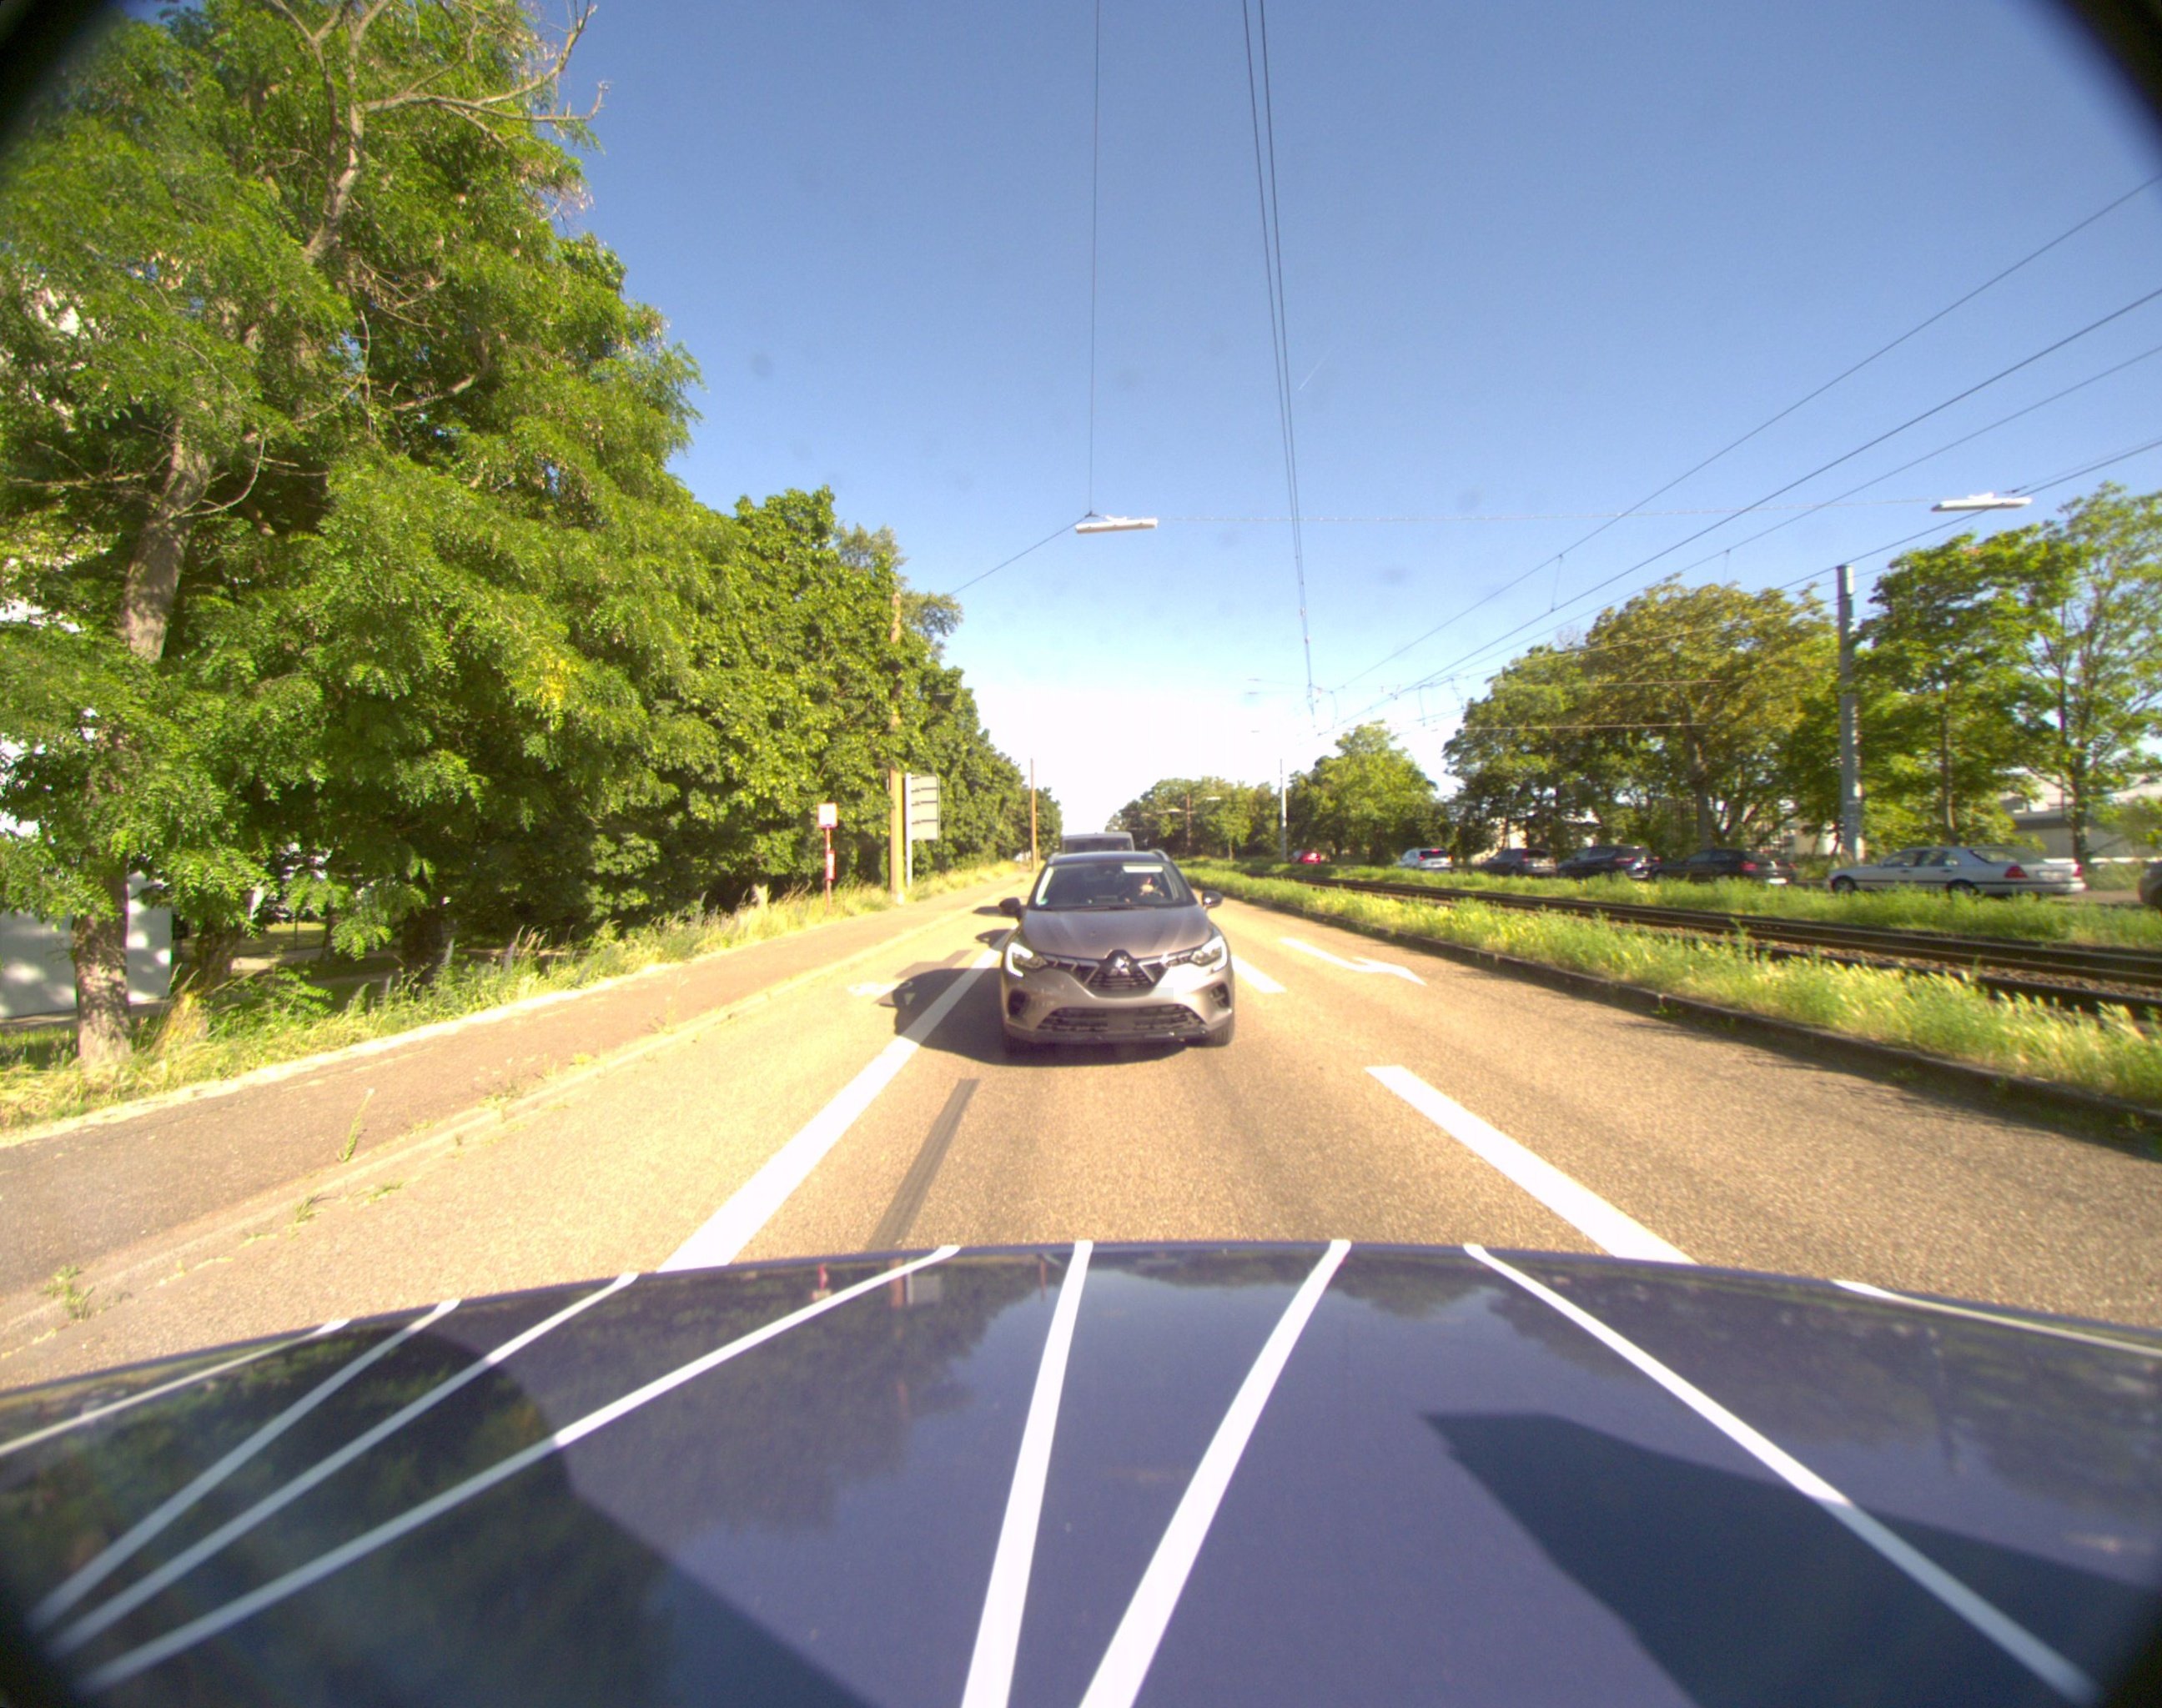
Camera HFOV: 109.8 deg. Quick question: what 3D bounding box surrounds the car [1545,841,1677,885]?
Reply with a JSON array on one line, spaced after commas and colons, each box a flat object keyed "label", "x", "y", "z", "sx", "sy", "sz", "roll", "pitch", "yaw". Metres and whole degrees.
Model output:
[{"label": "car", "x": 21.308, "y": 0.343, "z": 30.815, "sx": 2.130, "sy": 1.578, "sz": 4.616, "roll": -2, "pitch": 0, "yaw": 1}]

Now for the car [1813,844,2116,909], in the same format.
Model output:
[{"label": "car", "x": 21.546, "y": 0.506, "z": 18.924, "sx": 2.130, "sy": 1.372, "sz": 4.616, "roll": -2, "pitch": 0, "yaw": -1}]

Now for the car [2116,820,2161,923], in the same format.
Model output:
[{"label": "car", "x": 21.237, "y": 0.293, "z": 12.456, "sx": 2.207, "sy": 1.923, "sz": 4.685, "roll": -2, "pitch": 0, "yaw": 2}]

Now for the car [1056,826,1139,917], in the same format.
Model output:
[{"label": "car", "x": 0.358, "y": 0.475, "z": 20.998, "sx": 1.999, "sy": 2.198, "sz": 4.786, "roll": -1, "pitch": -1, "yaw": -1}]

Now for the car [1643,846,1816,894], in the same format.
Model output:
[{"label": "car", "x": 21.346, "y": 0.490, "z": 25.318, "sx": 1.960, "sy": 1.417, "sz": 4.488, "roll": -2, "pitch": 0, "yaw": 1}]

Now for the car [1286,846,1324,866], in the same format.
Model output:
[{"label": "car", "x": 21.004, "y": 0.185, "z": 71.457, "sx": 2.321, "sy": 1.723, "sz": 4.798, "roll": -2, "pitch": 0, "yaw": 3}]

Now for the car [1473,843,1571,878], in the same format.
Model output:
[{"label": "car", "x": 21.567, "y": 0.327, "z": 37.398, "sx": 2.130, "sy": 1.554, "sz": 4.560, "roll": -2, "pitch": 0, "yaw": 0}]

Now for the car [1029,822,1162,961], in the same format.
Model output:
[{"label": "car", "x": 0.255, "y": 0.589, "z": 13.840, "sx": 1.998, "sy": 2.113, "sz": 4.000, "roll": -2, "pitch": 0, "yaw": 1}]

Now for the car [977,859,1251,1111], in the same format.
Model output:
[{"label": "car", "x": 0.181, "y": 0.882, "z": 7.308, "sx": 1.796, "sy": 1.583, "sz": 4.529, "roll": -1, "pitch": 0, "yaw": -1}]

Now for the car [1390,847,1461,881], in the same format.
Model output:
[{"label": "car", "x": 17.028, "y": 0.489, "z": 37.744, "sx": 1.859, "sy": 1.548, "sz": 4.158, "roll": -2, "pitch": 0, "yaw": 4}]
